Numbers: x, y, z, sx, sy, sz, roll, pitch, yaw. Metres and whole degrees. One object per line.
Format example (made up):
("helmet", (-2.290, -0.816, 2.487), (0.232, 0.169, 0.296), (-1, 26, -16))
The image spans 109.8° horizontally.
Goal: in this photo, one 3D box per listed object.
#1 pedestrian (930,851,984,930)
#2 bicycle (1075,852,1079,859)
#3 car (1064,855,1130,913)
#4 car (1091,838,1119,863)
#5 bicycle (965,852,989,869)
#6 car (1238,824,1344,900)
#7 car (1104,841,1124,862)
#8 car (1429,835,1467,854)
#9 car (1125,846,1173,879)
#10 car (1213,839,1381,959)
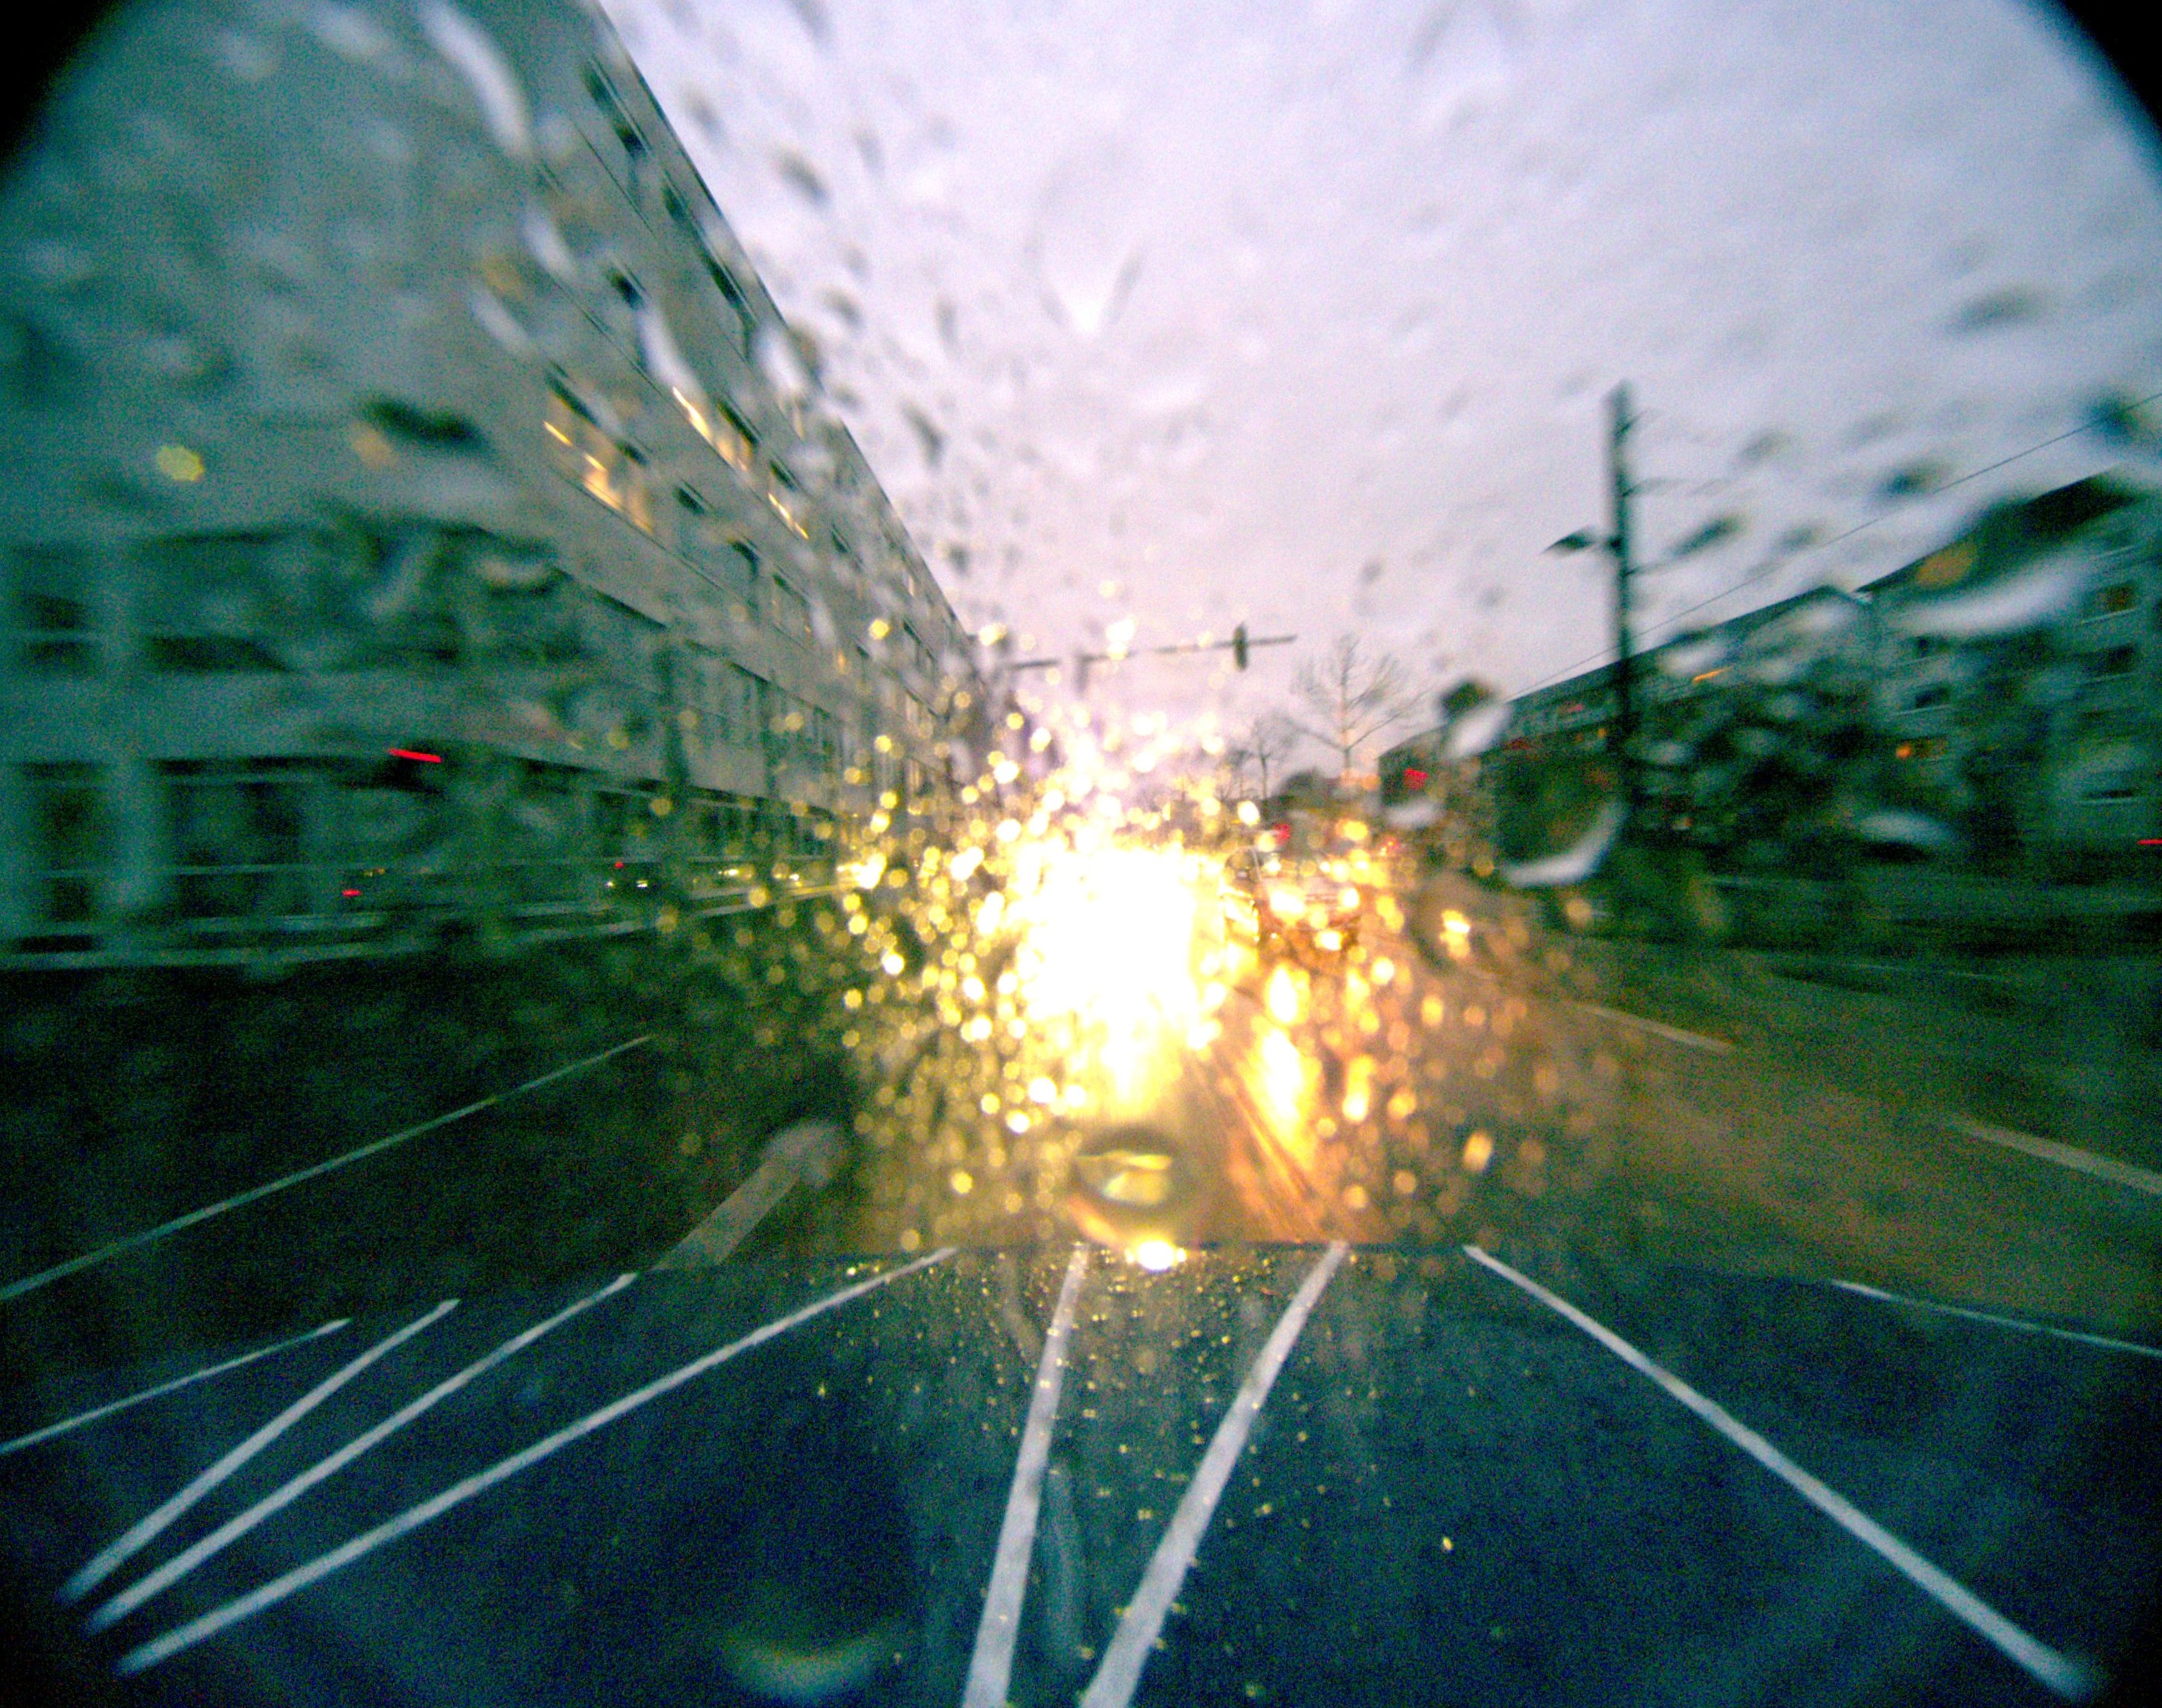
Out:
("pedestrian", (-2.837, 0.815, 17.444), (0.796, 1.740, 0.863), (3, 1, 28))
("bicycle", (-0.674, 0.210, 117.548), (0.552, 1.109, 2.165), (0, 2, 0))
("car", (0.511, 0.839, 22.769), (1.757, 1.418, 3.804), (-3, 1, 2))
("car", (1.606, -0.281, 51.260), (1.764, 1.520, 3.733), (-3, 2, 1))
("bicycle", (-8.105, 0.521, 59.188), (0.823, 1.266, 2.461), (2, 1, 17))
("car", (6.346, 0.192, 23.571), (1.957, 2.022, 4.882), (-3, 1, 2))
("car", (3.045, -0.227, 71.382), (1.691, 1.780, 3.645), (-3, 2, 1))
("car", (34.392, -0.935, 71.244), (1.729, 1.636, 4.150), (-3, 2, 3))
("car", (3.378, 0.394, 38.308), (1.975, 1.492, 4.091), (-3, 1, 0))
("car", (3.603, 0.652, 13.465), (2.020, 1.668, 4.000), (-3, 2, 4))
